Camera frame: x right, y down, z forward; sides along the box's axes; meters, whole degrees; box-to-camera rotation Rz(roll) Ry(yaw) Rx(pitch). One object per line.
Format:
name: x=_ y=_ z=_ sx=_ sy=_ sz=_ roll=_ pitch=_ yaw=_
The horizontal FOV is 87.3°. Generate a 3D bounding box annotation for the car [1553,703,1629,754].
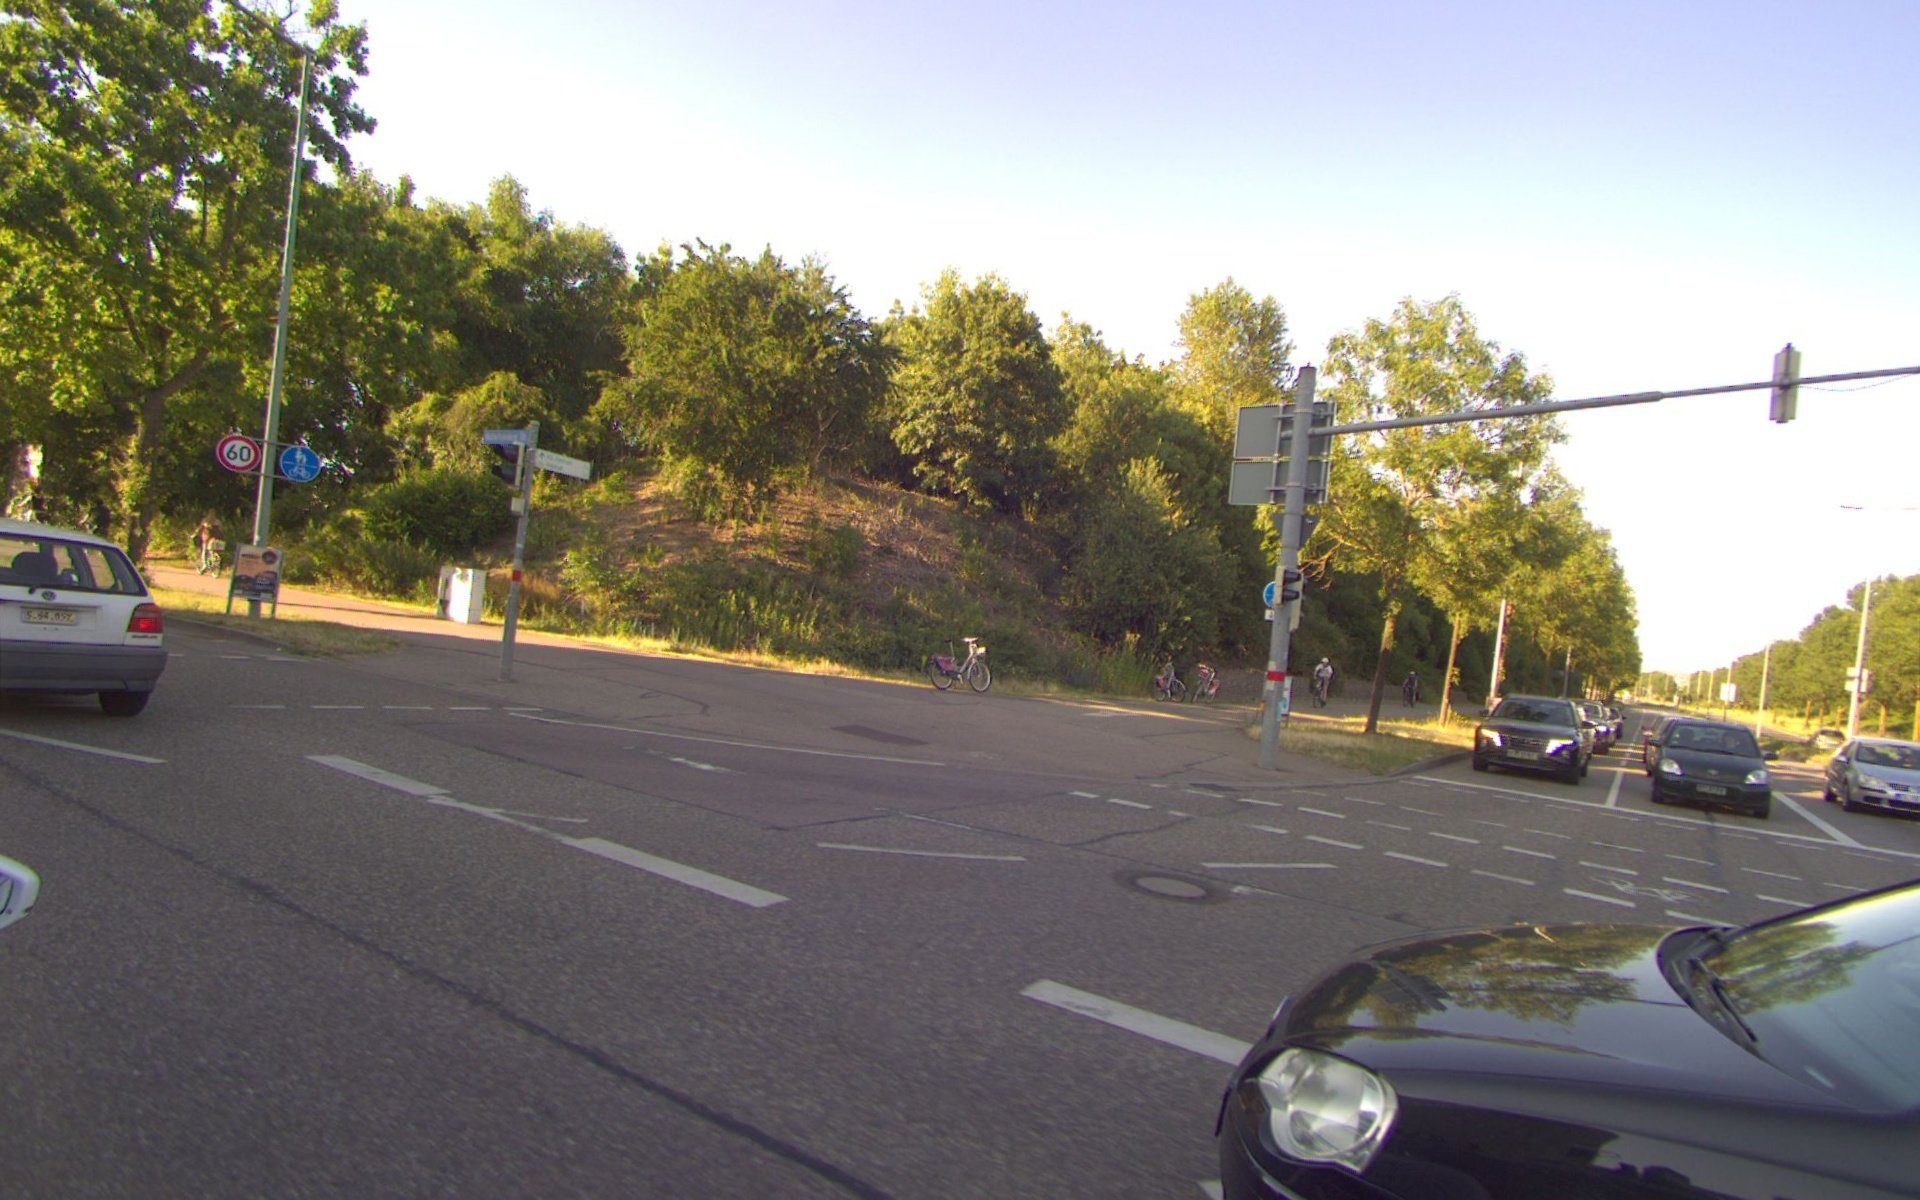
car: x=24.063 y=4.888 z=38.292 sx=2.010 sy=1.585 sz=4.330 roll=5 pitch=-3 yaw=37

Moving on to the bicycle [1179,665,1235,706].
bicycle: x=7.082 y=2.453 z=28.789 sx=1.788 sy=0.992 sz=0.631 roll=9 pitch=-2 yaw=-45

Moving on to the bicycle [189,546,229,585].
bicycle: x=-19.370 y=-0.890 z=25.939 sx=1.010 sy=0.926 sz=0.437 roll=5 pitch=1 yaw=32

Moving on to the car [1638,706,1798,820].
car: x=13.522 y=2.850 z=18.033 sx=1.970 sy=1.547 sz=3.989 roll=5 pitch=-3 yaw=37

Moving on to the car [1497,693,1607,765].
car: x=16.303 y=3.542 z=27.597 sx=2.010 sy=1.585 sz=4.330 roll=5 pitch=-3 yaw=37

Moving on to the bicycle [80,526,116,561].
bicycle: x=-25.612 y=-1.687 z=29.888 sx=1.010 sy=0.925 sz=0.438 roll=5 pitch=-2 yaw=32

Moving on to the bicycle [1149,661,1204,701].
bicycle: x=6.395 y=2.391 z=29.628 sx=0.631 sy=0.991 sz=1.788 roll=5 pitch=-3 yaw=45

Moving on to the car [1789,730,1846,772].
car: x=52.930 y=9.264 z=62.147 sx=1.968 sy=2.203 sz=3.994 roll=5 pitch=-3 yaw=33

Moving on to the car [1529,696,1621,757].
car: x=19.902 y=4.086 z=32.472 sx=2.010 sy=1.585 sz=4.330 roll=5 pitch=-3 yaw=37

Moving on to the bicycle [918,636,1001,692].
bicycle: x=-0.005 y=1.344 z=20.848 sx=1.656 sy=1.004 sz=0.571 roll=7 pitch=2 yaw=-42

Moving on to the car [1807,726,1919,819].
car: x=18.569 y=3.426 z=20.093 sx=1.860 sy=1.547 sz=3.995 roll=5 pitch=-3 yaw=32

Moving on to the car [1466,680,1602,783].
car: x=11.957 y=2.706 z=20.836 sx=1.835 sy=1.712 sz=3.989 roll=5 pitch=-3 yaw=37

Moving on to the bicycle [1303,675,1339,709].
bicycle: x=13.181 y=3.368 z=36.707 sx=0.808 sy=1.125 sz=2.017 roll=6 pitch=-3 yaw=31

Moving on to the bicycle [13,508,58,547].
bicycle: x=-30.195 y=-2.383 z=32.855 sx=1.595 sy=1.125 sz=0.566 roll=5 pitch=-2 yaw=32

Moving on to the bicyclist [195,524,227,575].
bicyclist: x=-19.323 y=-1.302 z=25.944 sx=0.452 sy=1.248 sz=0.428 roll=6 pitch=0 yaw=31

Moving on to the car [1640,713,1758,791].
car: x=17.765 y=3.613 z=24.209 sx=2.010 sy=1.423 sz=4.330 roll=5 pitch=-3 yaw=37

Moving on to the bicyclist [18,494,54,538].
bicyclist: x=-30.189 y=-2.753 z=32.863 sx=0.821 sy=1.331 sz=0.544 roll=6 pitch=-2 yaw=31

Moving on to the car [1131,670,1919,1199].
car: x=2.310 y=1.072 z=1.729 sx=3.621 sy=1.425 sz=1.620 roll=5 pitch=-3 yaw=30

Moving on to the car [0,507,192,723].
car: x=-7.979 y=-0.027 z=7.915 sx=3.994 sy=1.429 sz=1.582 roll=5 pitch=-3 yaw=31

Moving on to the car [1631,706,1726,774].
car: x=21.051 y=4.070 z=29.435 sx=2.010 sy=1.585 sz=4.330 roll=5 pitch=-3 yaw=37

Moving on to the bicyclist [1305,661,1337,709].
bicyclist: x=13.133 y=3.098 z=36.573 sx=0.780 sy=1.613 sz=0.859 roll=6 pitch=-2 yaw=31

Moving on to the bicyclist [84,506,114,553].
bicyclist: x=-25.641 y=-2.097 z=29.948 sx=0.452 sy=1.324 sz=0.428 roll=6 pitch=-2 yaw=31
